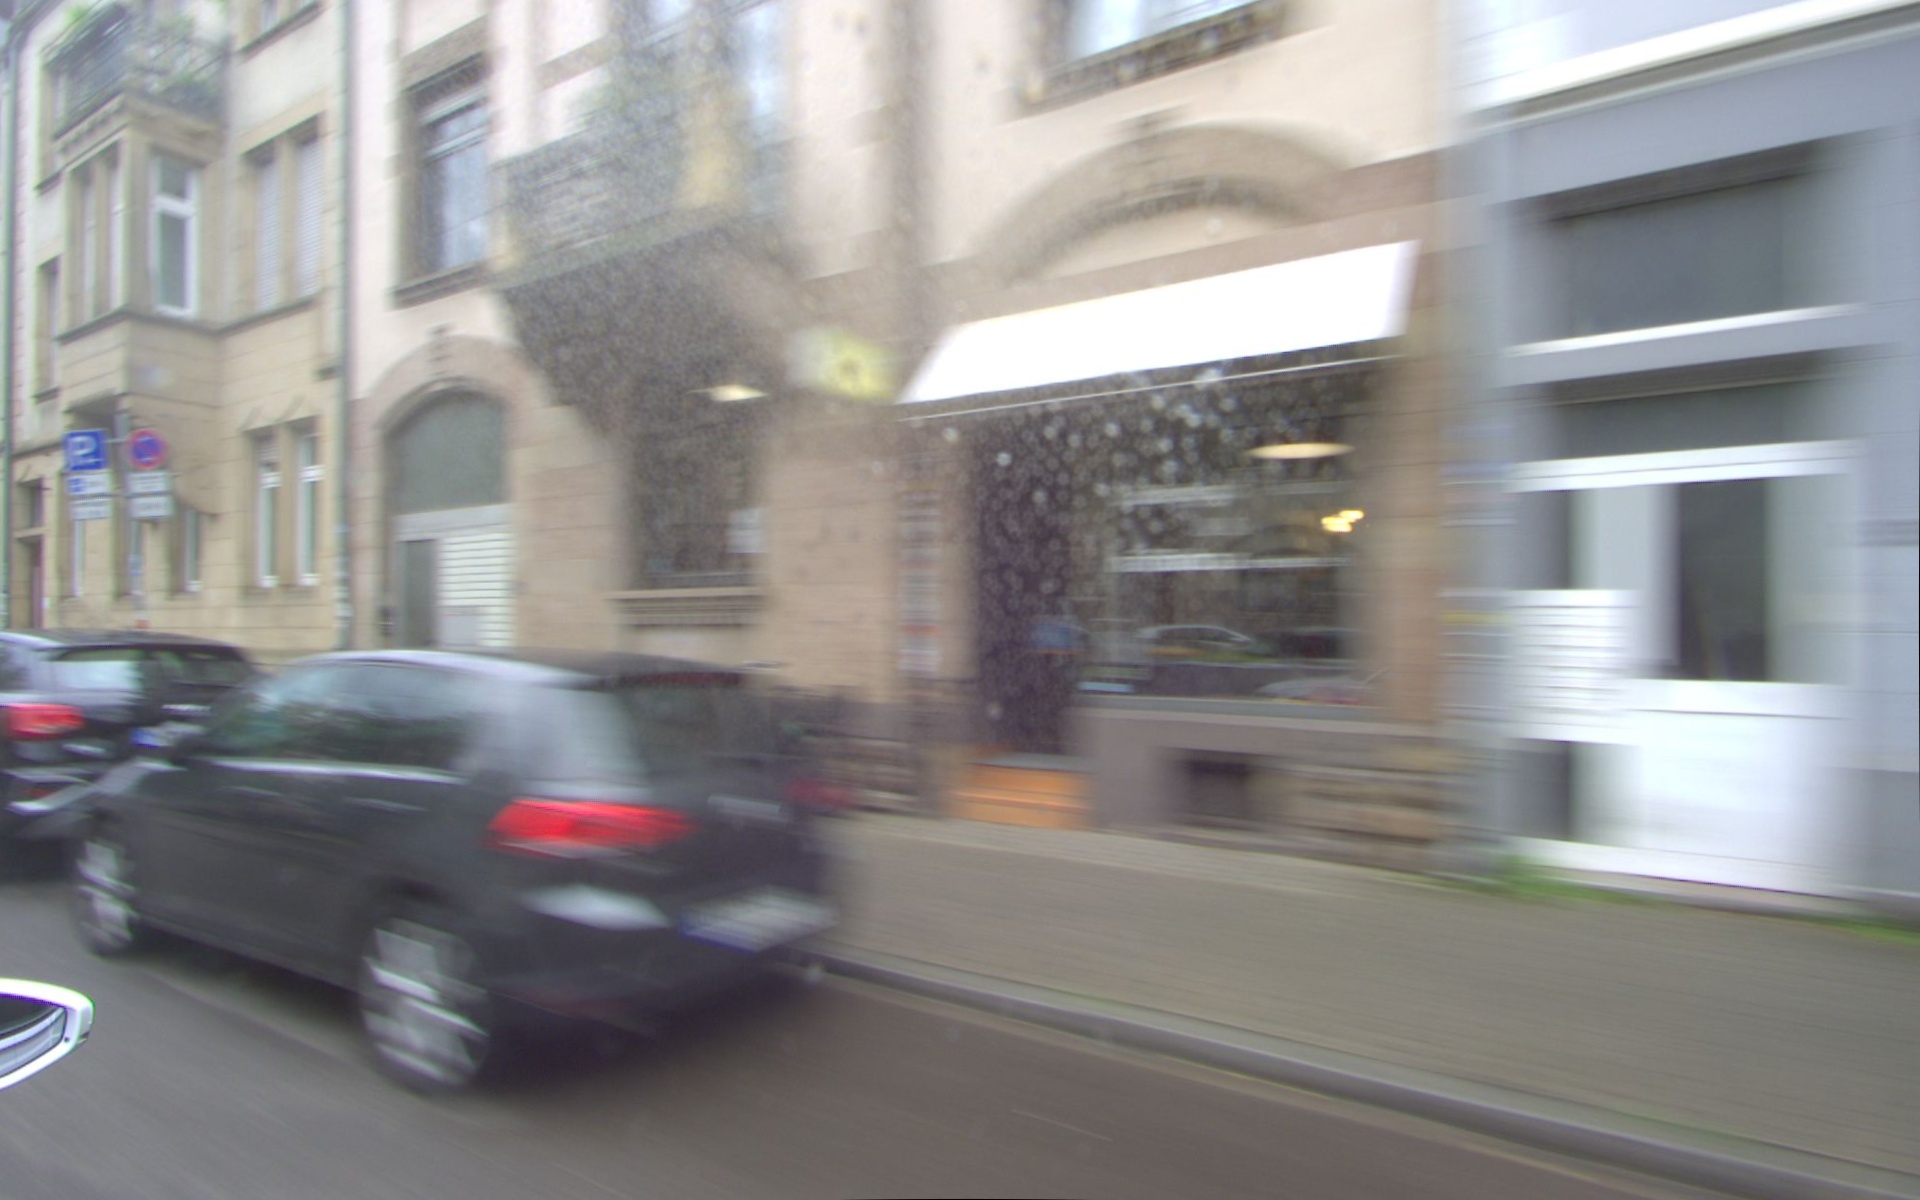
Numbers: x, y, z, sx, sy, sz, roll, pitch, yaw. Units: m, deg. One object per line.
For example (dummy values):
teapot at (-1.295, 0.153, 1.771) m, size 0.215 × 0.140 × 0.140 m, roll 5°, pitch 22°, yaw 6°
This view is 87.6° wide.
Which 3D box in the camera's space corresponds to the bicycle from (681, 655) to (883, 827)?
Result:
bicycle at (-1.352, 1.004, 7.470) m, size 1.565 × 1.113 × 0.419 m, roll 0°, pitch 4°, yaw 32°

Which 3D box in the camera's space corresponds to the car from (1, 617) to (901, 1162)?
car at (-2.555, 0.903, 4.711) m, size 4.327 × 1.531 × 1.697 m, roll 0°, pitch -5°, yaw 31°

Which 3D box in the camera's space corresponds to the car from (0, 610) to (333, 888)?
car at (-6.728, 0.908, 7.382) m, size 4.354 × 1.531 × 1.697 m, roll 0°, pitch -4°, yaw 31°
